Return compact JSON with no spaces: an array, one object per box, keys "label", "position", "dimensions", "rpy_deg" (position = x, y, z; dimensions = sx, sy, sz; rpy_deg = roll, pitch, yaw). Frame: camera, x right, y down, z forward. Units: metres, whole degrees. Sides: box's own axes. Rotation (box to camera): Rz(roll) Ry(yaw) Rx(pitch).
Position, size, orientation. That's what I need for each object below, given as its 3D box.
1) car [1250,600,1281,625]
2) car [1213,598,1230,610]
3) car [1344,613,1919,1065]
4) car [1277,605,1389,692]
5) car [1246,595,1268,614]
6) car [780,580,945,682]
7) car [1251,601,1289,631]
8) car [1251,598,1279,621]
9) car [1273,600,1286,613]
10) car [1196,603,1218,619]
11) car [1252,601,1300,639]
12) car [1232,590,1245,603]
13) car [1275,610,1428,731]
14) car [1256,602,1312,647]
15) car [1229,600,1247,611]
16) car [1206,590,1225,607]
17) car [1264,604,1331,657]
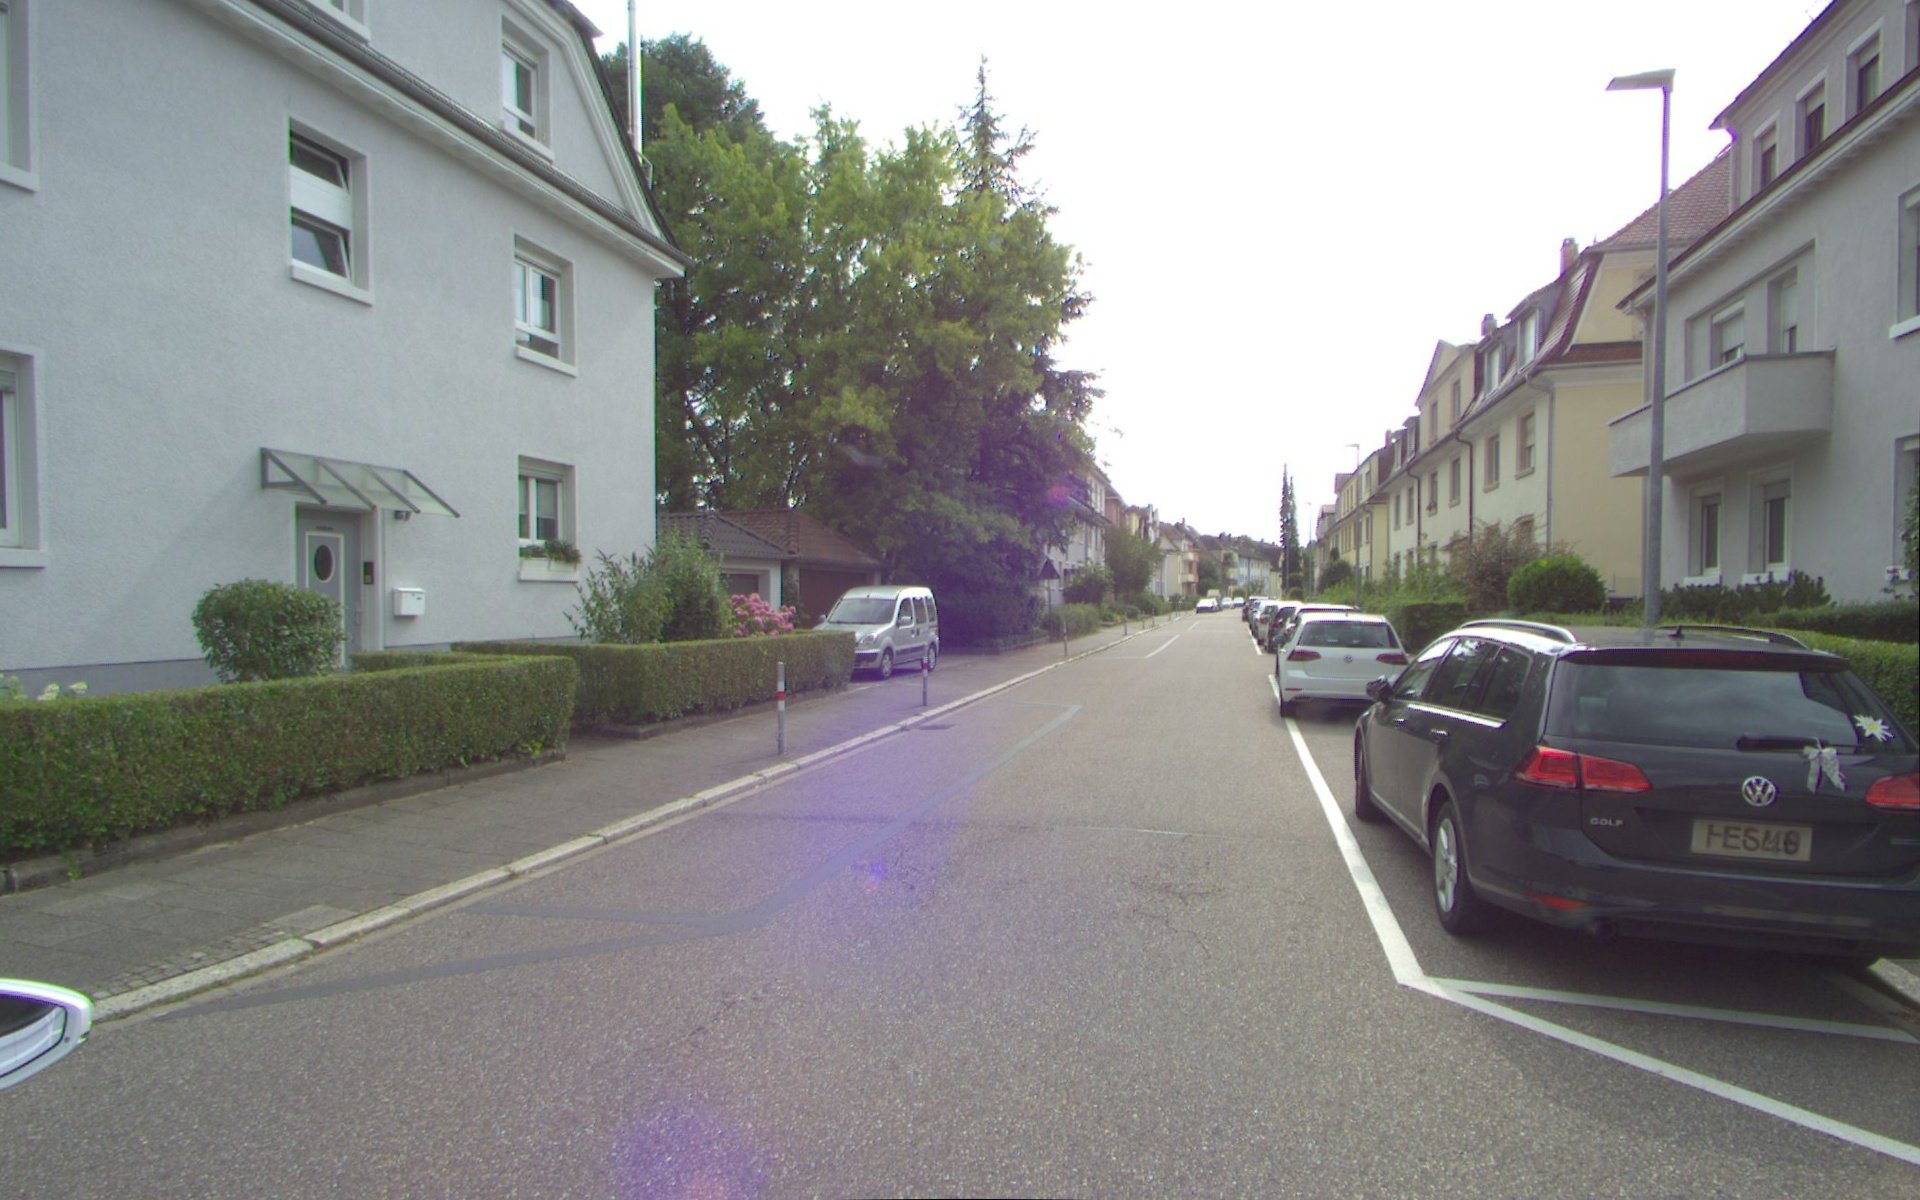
[{"label":"car","position":[19.573,0.783,64.197],"dimensions":[1.826,1.491,4.168],"rpy_deg":[0,0,17]},{"label":"car","position":[35.644,0.502,136.413],"dimensions":[1.965,1.662,3.992],"rpy_deg":[0,0,19]},{"label":"car","position":[3.432,0.850,5.546],"dimensions":[1.825,1.491,4.171],"rpy_deg":[0,0,12]},{"label":"car","position":[7.258,0.869,19.839],"dimensions":[1.826,1.491,4.168],"rpy_deg":[0,0,17]},{"label":"car","position":[26.020,0.366,87.844],"dimensions":[1.826,1.599,4.169],"rpy_deg":[0,0,16]},{"label":"car","position":[-1.850,0.558,20.387],"dimensions":[1.964,1.862,3.993],"rpy_deg":[0,0,17]},{"label":"car","position":[16.220,0.821,52.440],"dimensions":[1.826,1.491,4.168],"rpy_deg":[0,0,17]},{"label":"car","position":[21.234,0.641,69.758],"dimensions":[1.826,1.599,4.168],"rpy_deg":[0,0,17]},{"label":"car","position":[52.875,1.073,165.860],"dimensions":[1.964,2.040,3.849],"rpy_deg":[-1,0,17]},{"label":"car","position":[26.842,1.172,108.669],"dimensions":[1.965,1.662,3.992],"rpy_deg":[0,0,19]},{"label":"car","position":[13.223,0.807,42.058],"dimensions":[1.826,1.491,4.168],"rpy_deg":[0,0,17]},{"label":"car","position":[49.476,-0.632,177.773],"dimensions":[1.965,2.152,3.992],"rpy_deg":[0,0,19]},{"label":"car","position":[5.732,0.930,15.114],"dimensions":[1.826,1.491,4.168],"rpy_deg":[0,0,17]},{"label":"car","position":[11.709,0.837,36.315],"dimensions":[1.826,1.491,4.168],"rpy_deg":[0,0,17]},{"label":"car","position":[41.416,0.806,149.191],"dimensions":[1.967,1.556,3.987],"rpy_deg":[-1,0,24]},{"label":"car","position":[30.790,-0.219,120.651],"dimensions":[1.964,2.040,3.993],"rpy_deg":[0,0,18]},{"label":"car","position":[10.387,0.885,31.032],"dimensions":[1.826,1.491,4.168],"rpy_deg":[0,0,17]}]
